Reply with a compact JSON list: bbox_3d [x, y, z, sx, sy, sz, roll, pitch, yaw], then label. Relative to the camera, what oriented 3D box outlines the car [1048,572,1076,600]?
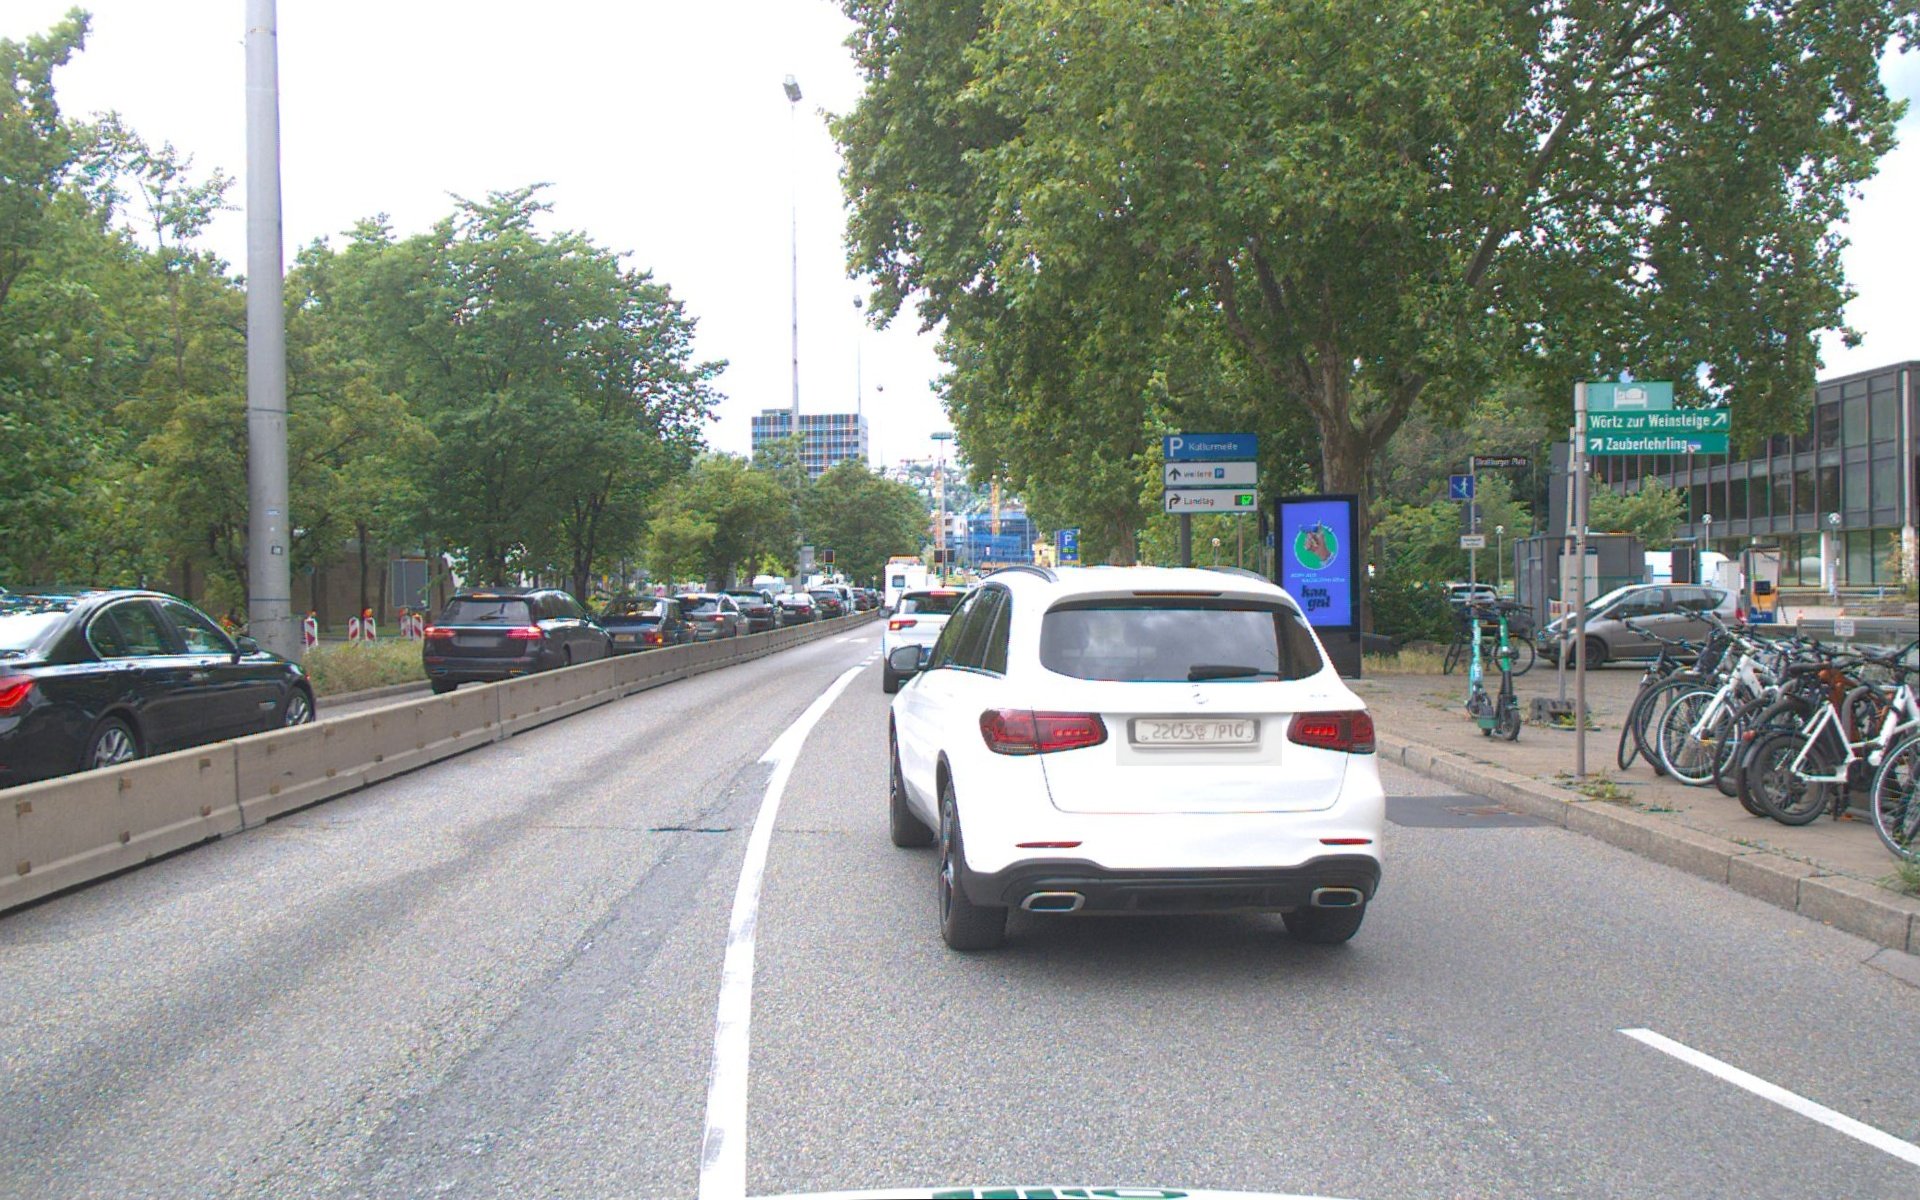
[{"bbox_3d":[7.680,-1.034,124.752,1.952,2.049,4.001,0,0,1],"label":"car"}]

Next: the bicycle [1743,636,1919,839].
[{"bbox_3d":[5.526,0.803,10.093,1.590,1.150,0.466,1,0,-27],"label":"bicycle"}]

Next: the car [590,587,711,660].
[{"bbox_3d":[-6.306,0.433,34.180,1.644,1.390,4.543,-1,0,0],"label":"car"}]

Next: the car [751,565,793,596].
[{"bbox_3d":[-12.434,-1.267,109.605,2.072,2.003,5.578,-1,0,0],"label":"car"}]

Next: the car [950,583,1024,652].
[{"bbox_3d":[0.642,0.429,42.200,1.626,1.668,3.545,0,0,-4],"label":"car"}]

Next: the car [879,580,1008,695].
[{"bbox_3d":[-0.324,0.534,25.441,1.760,1.636,3.752,0,0,-4],"label":"car"}]

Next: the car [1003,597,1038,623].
[{"bbox_3d":[3.404,0.556,93.634,1.906,1.453,4.017,0,0,1],"label":"car"}]

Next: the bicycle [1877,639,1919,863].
[{"bbox_3d":[5.545,0.760,8.242,1.628,1.093,0.585,0,0,19],"label":"bicycle"}]

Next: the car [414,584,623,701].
[{"bbox_3d":[-6.328,0.552,24.276,1.779,1.525,4.769,-1,0,0],"label":"car"}]

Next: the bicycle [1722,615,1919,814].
[{"bbox_3d":[5.396,0.674,10.143,1.590,1.150,0.405,1,0,-27],"label":"bicycle"}]

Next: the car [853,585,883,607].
[{"bbox_3d":[-5.843,-0.263,105.651,1.625,1.343,3.548,0,0,1],"label":"car"}]

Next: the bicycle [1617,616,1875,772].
[{"bbox_3d":[5.903,0.692,12.486,1.691,1.110,0.426,1,0,13],"label":"bicycle"}]

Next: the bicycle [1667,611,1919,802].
[{"bbox_3d":[5.774,0.707,11.197,1.722,1.230,0.604,1,0,-4],"label":"bicycle"}]

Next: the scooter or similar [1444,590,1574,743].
[{"bbox_3d":[5.096,0.593,15.439,0.711,1.354,1.413,1,0,-1],"label":"scooter or similar"}]

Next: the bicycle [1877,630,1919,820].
[{"bbox_3d":[6.040,0.708,9.246,1.529,1.046,0.436,1,0,11],"label":"bicycle"}]

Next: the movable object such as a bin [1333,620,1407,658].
[{"bbox_3d":[7.710,0.736,31.155,1.271,0.663,0.729,1,-1,9],"label":"movable object such as a bin"}]

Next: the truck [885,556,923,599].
[{"bbox_3d":[-4.158,-1.646,123.891,2.637,3.044,5.637,1,0,-1],"label":"truck"}]

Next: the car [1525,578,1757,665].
[{"bbox_3d":[13.002,0.395,31.721,3.757,1.596,1.679,0,0,0],"label":"car"}]

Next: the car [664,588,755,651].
[{"bbox_3d":[-6.088,0.449,40.568,1.627,1.461,3.960,0,0,0],"label":"car"}]

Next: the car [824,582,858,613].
[{"bbox_3d":[-6.079,-0.102,84.672,1.626,1.540,3.545,-1,-1,-3],"label":"car"}]

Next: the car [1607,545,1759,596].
[{"bbox_3d":[33.337,-1.353,76.397,5.980,2.300,2.402,0,0,2],"label":"car"}]

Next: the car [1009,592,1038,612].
[{"bbox_3d":[4.322,0.103,112.991,1.906,1.343,4.017,0,0,1],"label":"car"}]

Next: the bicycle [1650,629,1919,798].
[{"bbox_3d":[5.832,0.778,11.655,1.691,1.110,0.575,1,0,8],"label":"bicycle"}]

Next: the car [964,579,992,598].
[{"bbox_3d":[1.309,-0.817,117.511,1.906,1.343,4.017,0,0,1],"label":"car"}]

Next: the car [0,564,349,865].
[{"bbox_3d":[-6.132,0.623,11.585,1.884,1.664,4.936,0,0,0],"label":"car"}]

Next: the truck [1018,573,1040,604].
[{"bbox_3d":[9.680,-1.582,231.754,2.818,4.175,6.639,1,0,1],"label":"truck"}]

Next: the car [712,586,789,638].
[{"bbox_3d":[-6.179,0.329,49.145,1.739,1.445,4.000,-1,1,0],"label":"car"}]

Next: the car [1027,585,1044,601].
[{"bbox_3d":[8.279,-0.763,180.742,1.722,1.698,4.168,0,1,1],"label":"car"}]

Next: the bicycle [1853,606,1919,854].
[{"bbox_3d":[5.590,0.684,8.669,1.510,1.278,0.543,1,0,19],"label":"bicycle"}]

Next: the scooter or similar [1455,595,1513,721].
[{"bbox_3d":[5.688,0.604,17.986,0.422,1.303,1.435,1,0,11],"label":"scooter or similar"}]

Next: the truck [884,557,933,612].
[{"bbox_3d":[-2.836,-0.873,93.269,2.567,2.911,7.078,1,0,-1],"label":"truck"}]

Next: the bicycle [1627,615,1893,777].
[{"bbox_3d":[5.802,0.683,12.053,1.691,1.110,0.381,1,0,13],"label":"bicycle"}]

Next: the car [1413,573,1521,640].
[{"bbox_3d":[13.449,0.141,44.092,1.724,1.578,4.028,-1,2,1],"label":"car"}]

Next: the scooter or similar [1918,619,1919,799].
[{"bbox_3d":[6.370,0.674,10.146,0.416,1.245,1.313,1,0,10],"label":"scooter or similar"}]

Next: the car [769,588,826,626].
[{"bbox_3d":[-5.954,0.260,60.930,1.625,1.343,3.548,0,0,2],"label":"car"}]

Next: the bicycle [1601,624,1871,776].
[{"bbox_3d":[6.087,0.765,13.071,1.818,1.110,0.666,1,0,13],"label":"bicycle"}]

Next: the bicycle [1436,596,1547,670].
[{"bbox_3d":[9.128,0.565,28.451,1.748,1.242,0.492,0,0,3],"label":"bicycle"}]

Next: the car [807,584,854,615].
[{"bbox_3d":[-5.718,-0.024,73.414,1.624,1.343,3.549,0,0,3],"label":"car"}]

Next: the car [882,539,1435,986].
[{"bbox_3d":[0.671,0.599,8.450,1.754,1.653,4.429,0,0,-8],"label":"car"}]
